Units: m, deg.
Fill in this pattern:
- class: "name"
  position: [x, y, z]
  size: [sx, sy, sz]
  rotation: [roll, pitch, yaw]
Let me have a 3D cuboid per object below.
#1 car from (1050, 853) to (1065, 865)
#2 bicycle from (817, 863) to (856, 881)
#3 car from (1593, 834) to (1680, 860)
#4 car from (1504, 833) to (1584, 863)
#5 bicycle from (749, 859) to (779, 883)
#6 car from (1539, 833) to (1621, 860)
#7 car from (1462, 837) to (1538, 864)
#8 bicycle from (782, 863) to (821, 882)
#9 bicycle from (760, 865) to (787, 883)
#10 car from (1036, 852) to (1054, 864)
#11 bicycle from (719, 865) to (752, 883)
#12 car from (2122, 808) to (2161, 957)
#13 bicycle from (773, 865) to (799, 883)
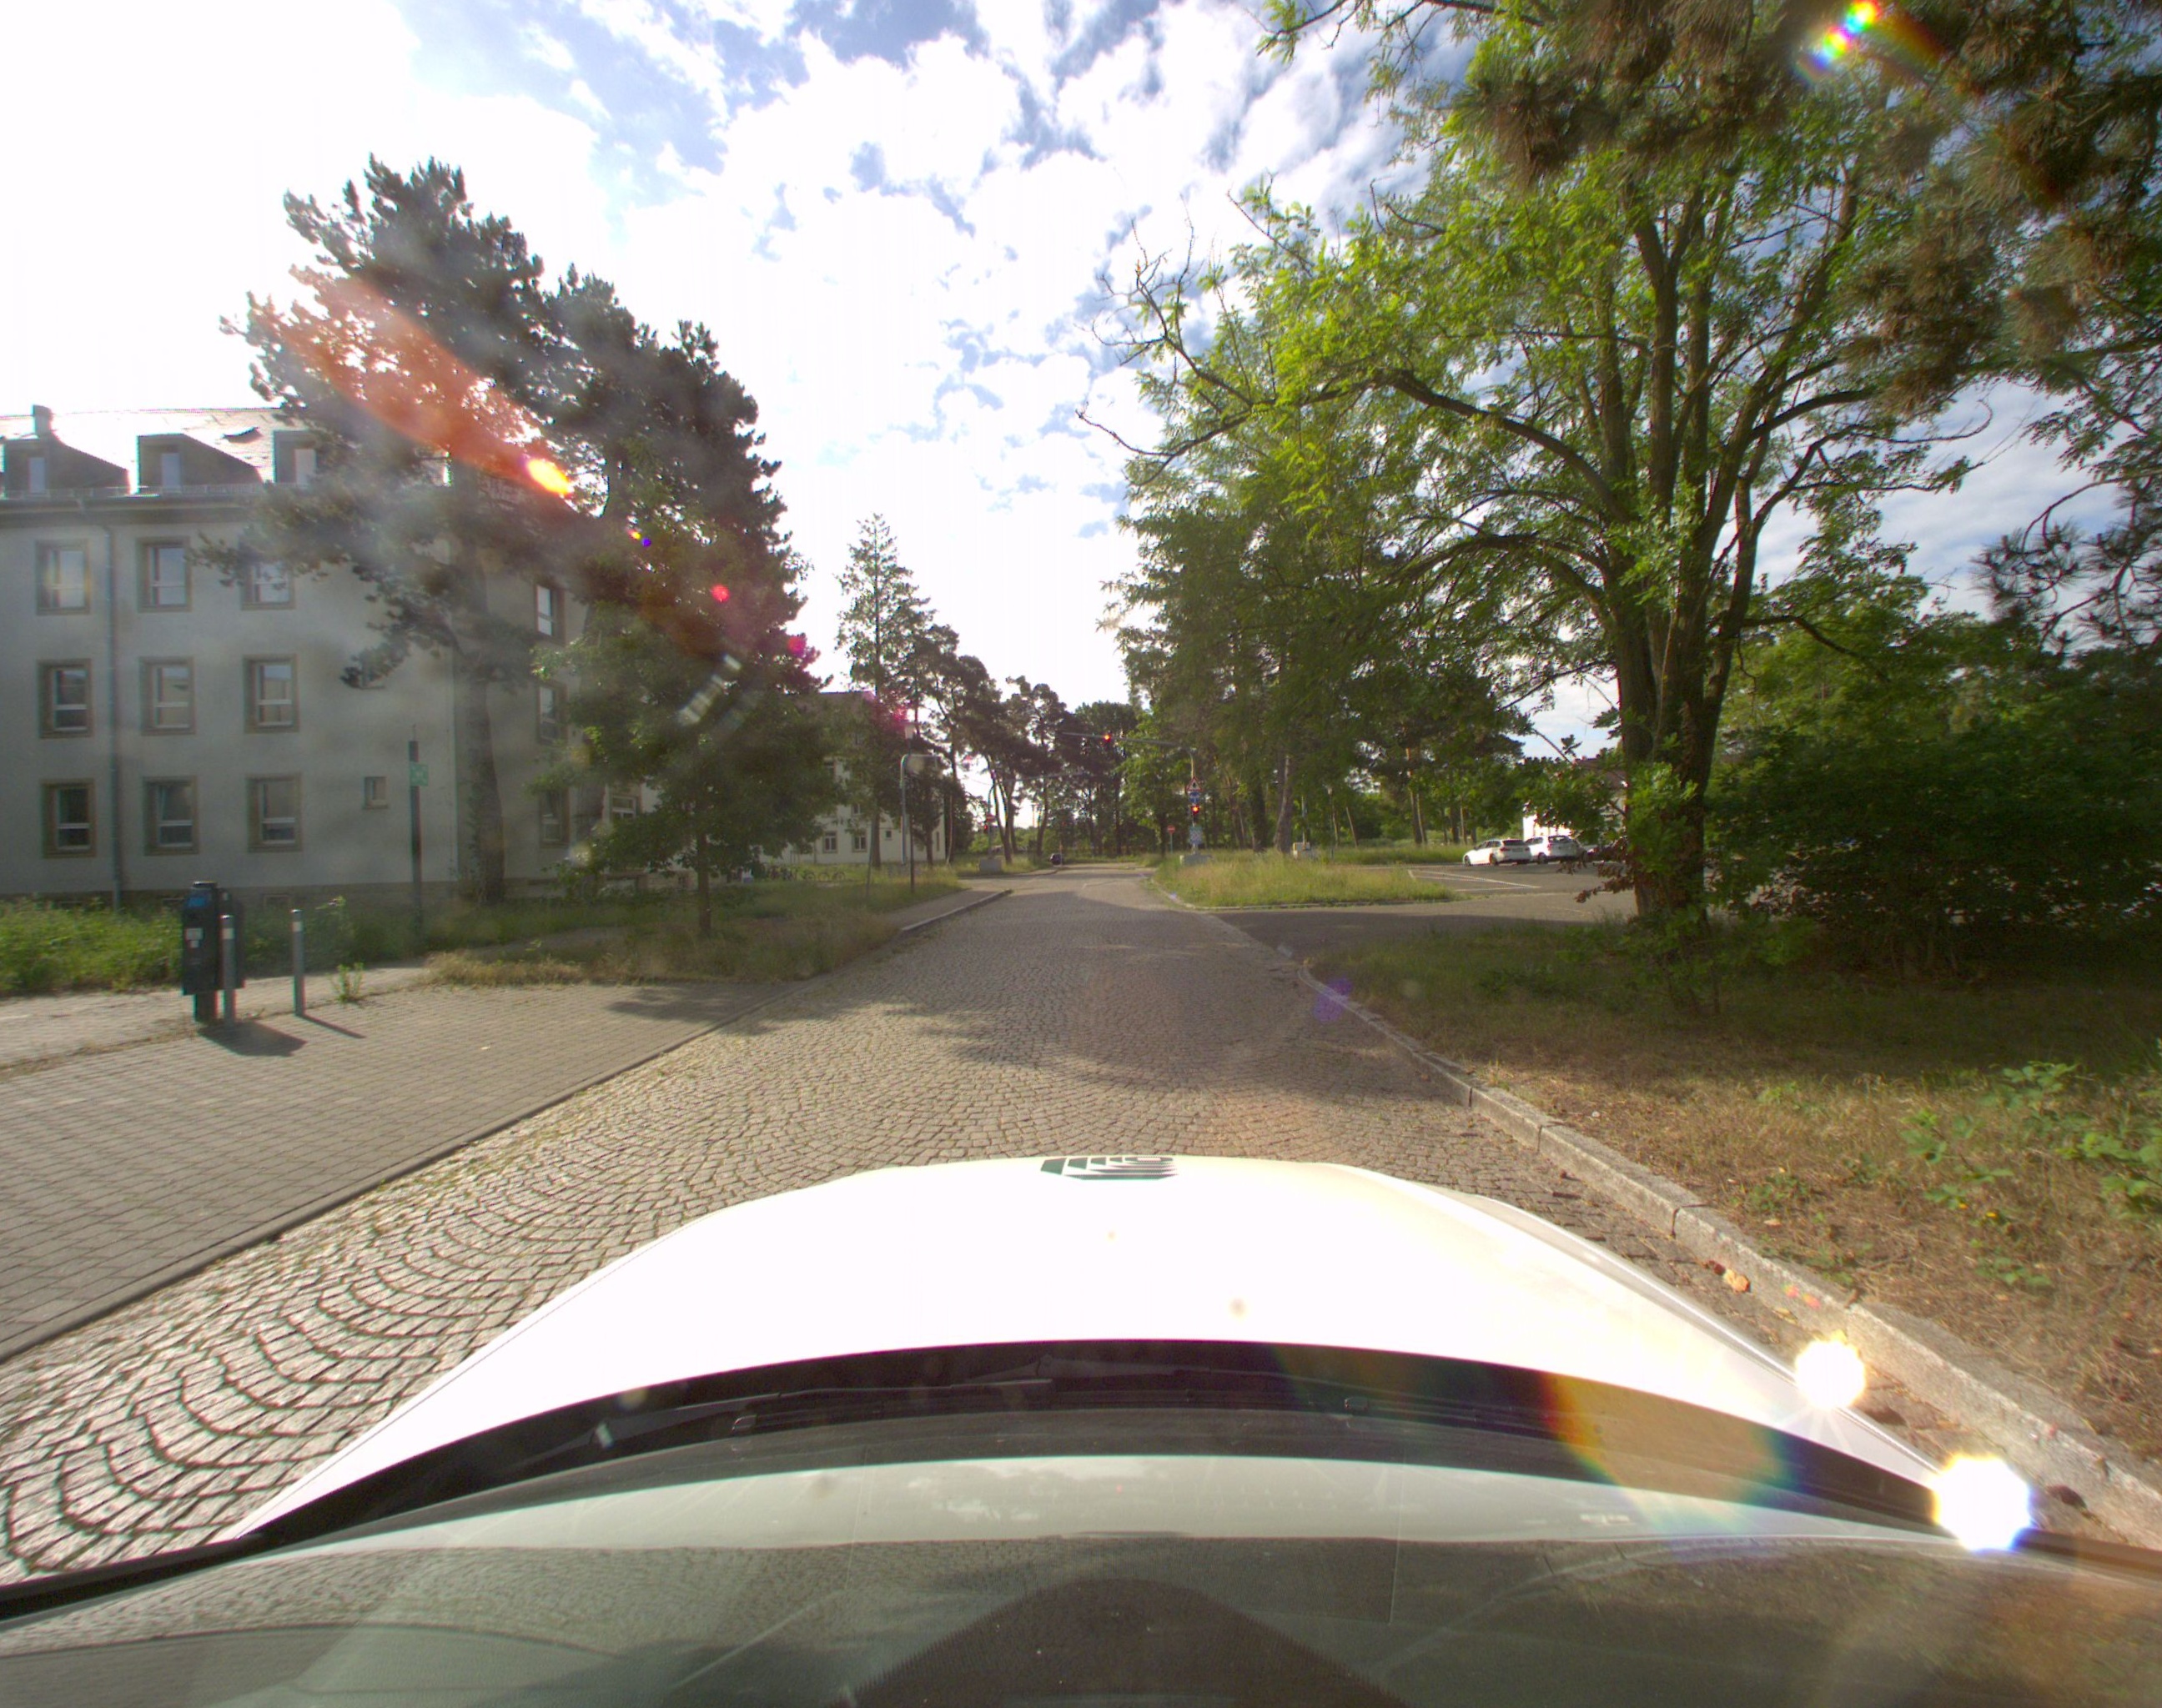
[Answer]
- class: "car"
  position: [-3.104, 0.633, 107.920]
  size: [1.839, 1.486, 3.998]
  rotation: [-2, 0, -1]
- class: "bicycle"
  position: [-15.197, 1.111, 50.622]
  size: [2.112, 1.047, 0.828]
  rotation: [-2, 0, -2]
- class: "car"
  position: [30.326, -0.374, 44.624]
  size: [1.726, 1.312, 4.328]
  rotation: [-2, 0, -2]
- class: "car"
  position: [24.970, -0.304, 44.108]
  size: [1.726, 1.476, 4.328]
  rotation: [-2, 0, -2]
- class: "bicycle"
  position: [-20.304, 1.067, 52.141]
  size: [0.823, 1.437, 2.554]
  rotation: [-2, 0, 1]
- class: "car"
  position: [27.128, -0.386, 44.450]
  size: [1.726, 1.312, 4.328]
  rotation: [-2, 0, -2]
- class: "car"
  position: [22.450, -0.198, 43.832]
  size: [1.726, 1.312, 4.329]
  rotation: [-2, 0, -2]
- class: "bicycle"
  position: [-17.319, 1.128, 50.554]
  size: [2.112, 1.108, 0.828]
  rotation: [-2, 0, -2]
- class: "bicycle"
  position: [-19.517, 1.271, 51.790]
  size: [0.823, 1.047, 2.124]
  rotation: [-2, 0, 1]
- class: "car"
  position: [-4.957, 0.507, 112.722]
  size: [1.772, 1.490, 3.764]
  rotation: [-2, 0, 8]
- class: "bicycle"
  position: [-21.977, 1.288, 51.860]
  size: [0.897, 1.047, 2.554]
  rotation: [-2, 0, 1]
- class: "car"
  position: [11.519, 0.253, 6.331]
  size: [1.663, 1.467, 3.997]
  rotation: [-2, 0, -2]
- class: "bicycle"
  position: [-18.736, 1.266, 51.823]
  size: [0.823, 1.047, 2.124]
  rotation: [-2, 0, 1]
